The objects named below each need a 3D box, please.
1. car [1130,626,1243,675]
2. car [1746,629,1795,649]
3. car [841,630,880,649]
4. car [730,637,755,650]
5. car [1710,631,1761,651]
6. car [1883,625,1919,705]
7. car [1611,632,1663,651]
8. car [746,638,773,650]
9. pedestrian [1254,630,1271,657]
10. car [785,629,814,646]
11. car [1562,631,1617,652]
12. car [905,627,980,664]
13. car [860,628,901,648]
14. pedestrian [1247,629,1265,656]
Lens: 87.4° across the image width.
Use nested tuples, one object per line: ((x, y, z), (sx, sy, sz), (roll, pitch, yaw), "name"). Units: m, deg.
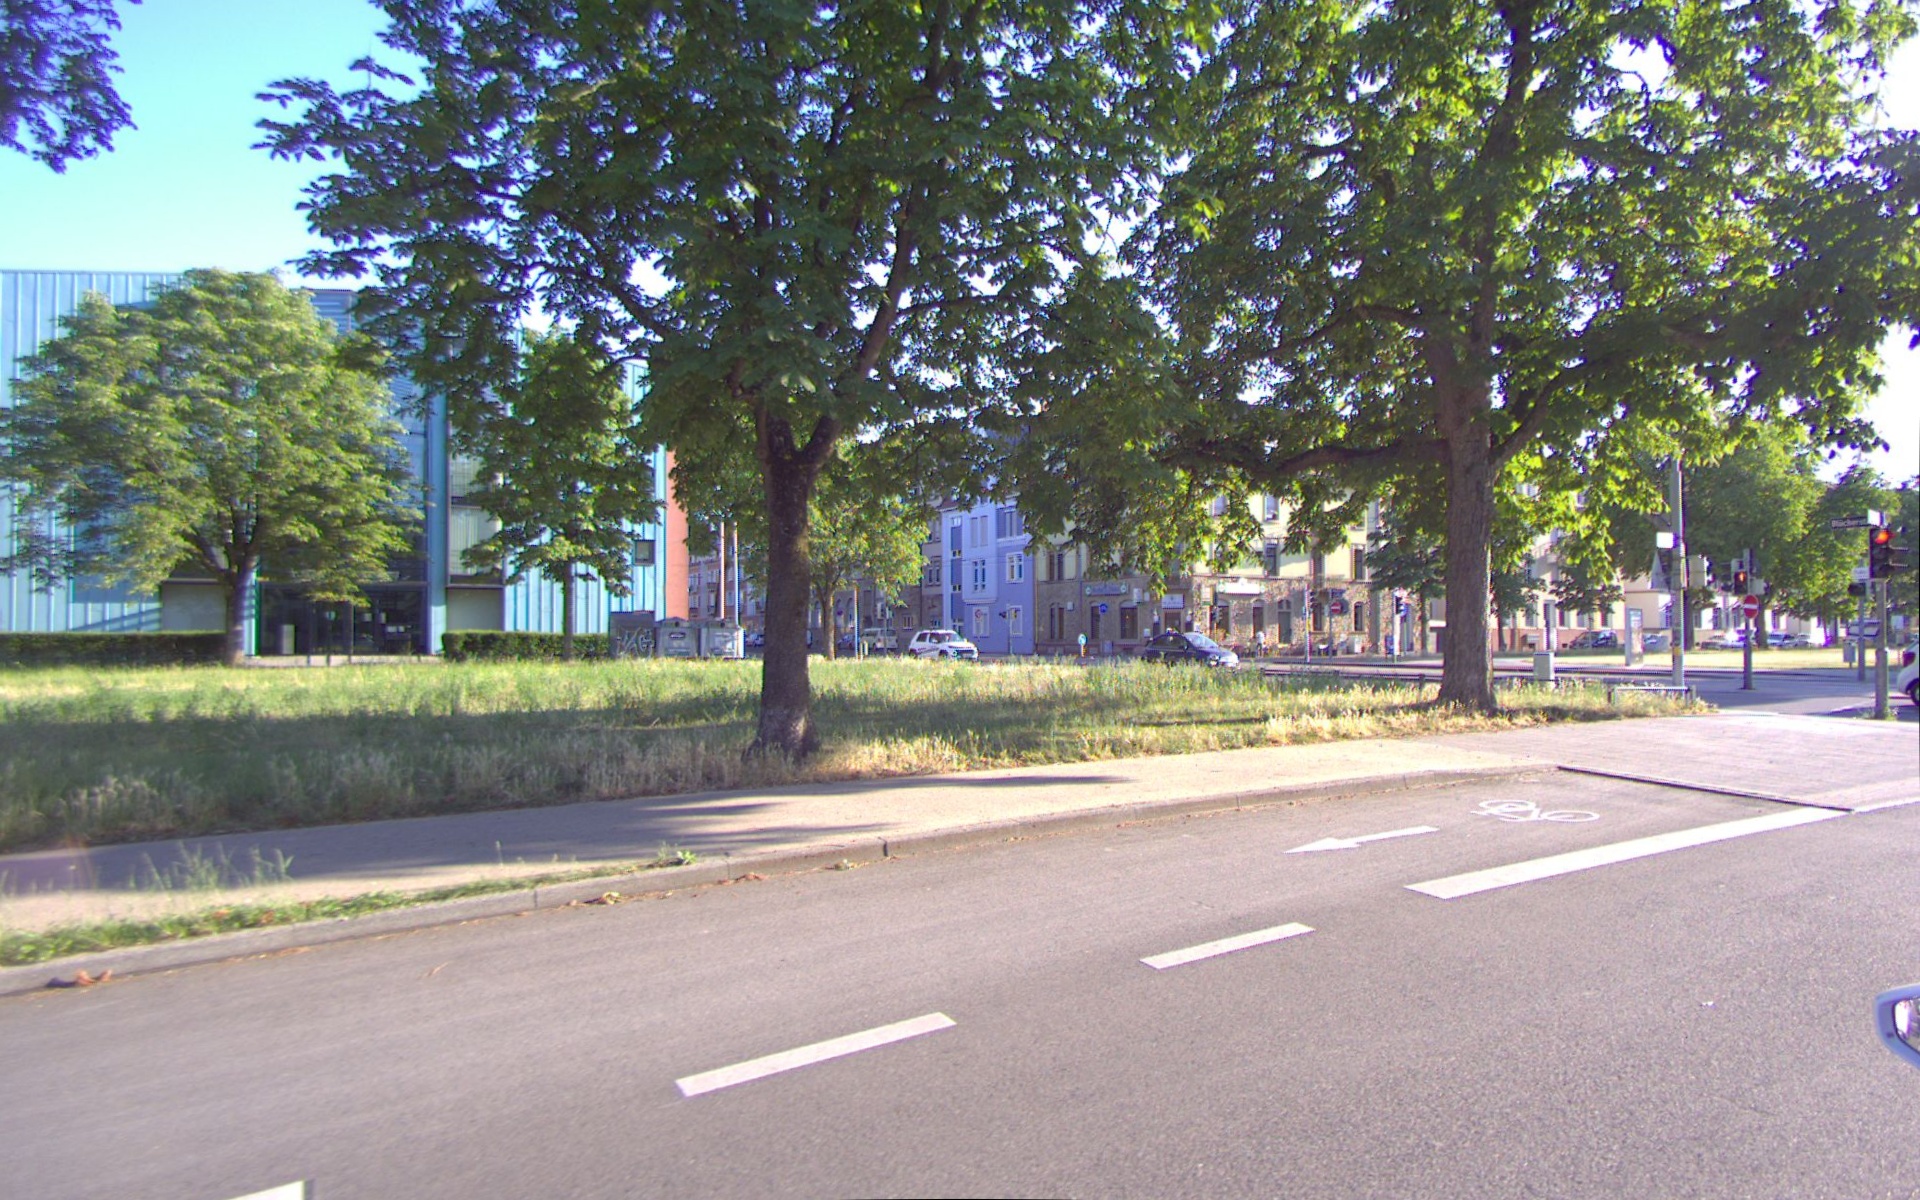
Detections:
((7.583, 1.652, 33.825), (1.597, 1.517, 3.570), (0, -1, -36), "car")
((64.312, 3.091, 79.685), (3.745, 1.446, 1.731), (-1, -1, -29), "car")
((-8.871, 3.529, 89.238), (2.072, 1.612, 4.017), (2, -2, -26), "car")
((-25.123, 5.023, 115.969), (1.865, 1.433, 4.016), (1, -2, -27), "car")
((59.104, 3.107, 76.556), (3.746, 1.446, 1.731), (1, -1, -29), "car")
((19.693, 1.230, 18.609), (1.727, 1.508, 3.655), (1, -1, -40), "car")
((54.062, 3.273, 80.209), (3.738, 1.446, 1.734), (1, -1, -23), "car")
((-22.167, 4.843, 111.019), (1.865, 1.299, 4.016), (1, -2, -27), "car")
((18.877, 2.710, 62.674), (0.715, 1.664, 0.812), (1, -1, -21), "pedestrian")
((-16.166, 3.780, 101.219), (1.884, 1.610, 4.021), (2, -2, -24), "car")
((48.368, 3.173, 77.183), (3.738, 1.416, 1.734), (-1, -1, -23), "car")
((-0.840, 2.054, 45.907), (1.595, 1.572, 3.840), (0, -1, -34), "car")
((-6.757, 3.226, 85.080), (2.072, 1.612, 4.017), (2, -2, -26), "car")
((18.276, 2.611, 62.046), (0.810, 1.664, 0.717), (1, -2, -43), "pedestrian")
